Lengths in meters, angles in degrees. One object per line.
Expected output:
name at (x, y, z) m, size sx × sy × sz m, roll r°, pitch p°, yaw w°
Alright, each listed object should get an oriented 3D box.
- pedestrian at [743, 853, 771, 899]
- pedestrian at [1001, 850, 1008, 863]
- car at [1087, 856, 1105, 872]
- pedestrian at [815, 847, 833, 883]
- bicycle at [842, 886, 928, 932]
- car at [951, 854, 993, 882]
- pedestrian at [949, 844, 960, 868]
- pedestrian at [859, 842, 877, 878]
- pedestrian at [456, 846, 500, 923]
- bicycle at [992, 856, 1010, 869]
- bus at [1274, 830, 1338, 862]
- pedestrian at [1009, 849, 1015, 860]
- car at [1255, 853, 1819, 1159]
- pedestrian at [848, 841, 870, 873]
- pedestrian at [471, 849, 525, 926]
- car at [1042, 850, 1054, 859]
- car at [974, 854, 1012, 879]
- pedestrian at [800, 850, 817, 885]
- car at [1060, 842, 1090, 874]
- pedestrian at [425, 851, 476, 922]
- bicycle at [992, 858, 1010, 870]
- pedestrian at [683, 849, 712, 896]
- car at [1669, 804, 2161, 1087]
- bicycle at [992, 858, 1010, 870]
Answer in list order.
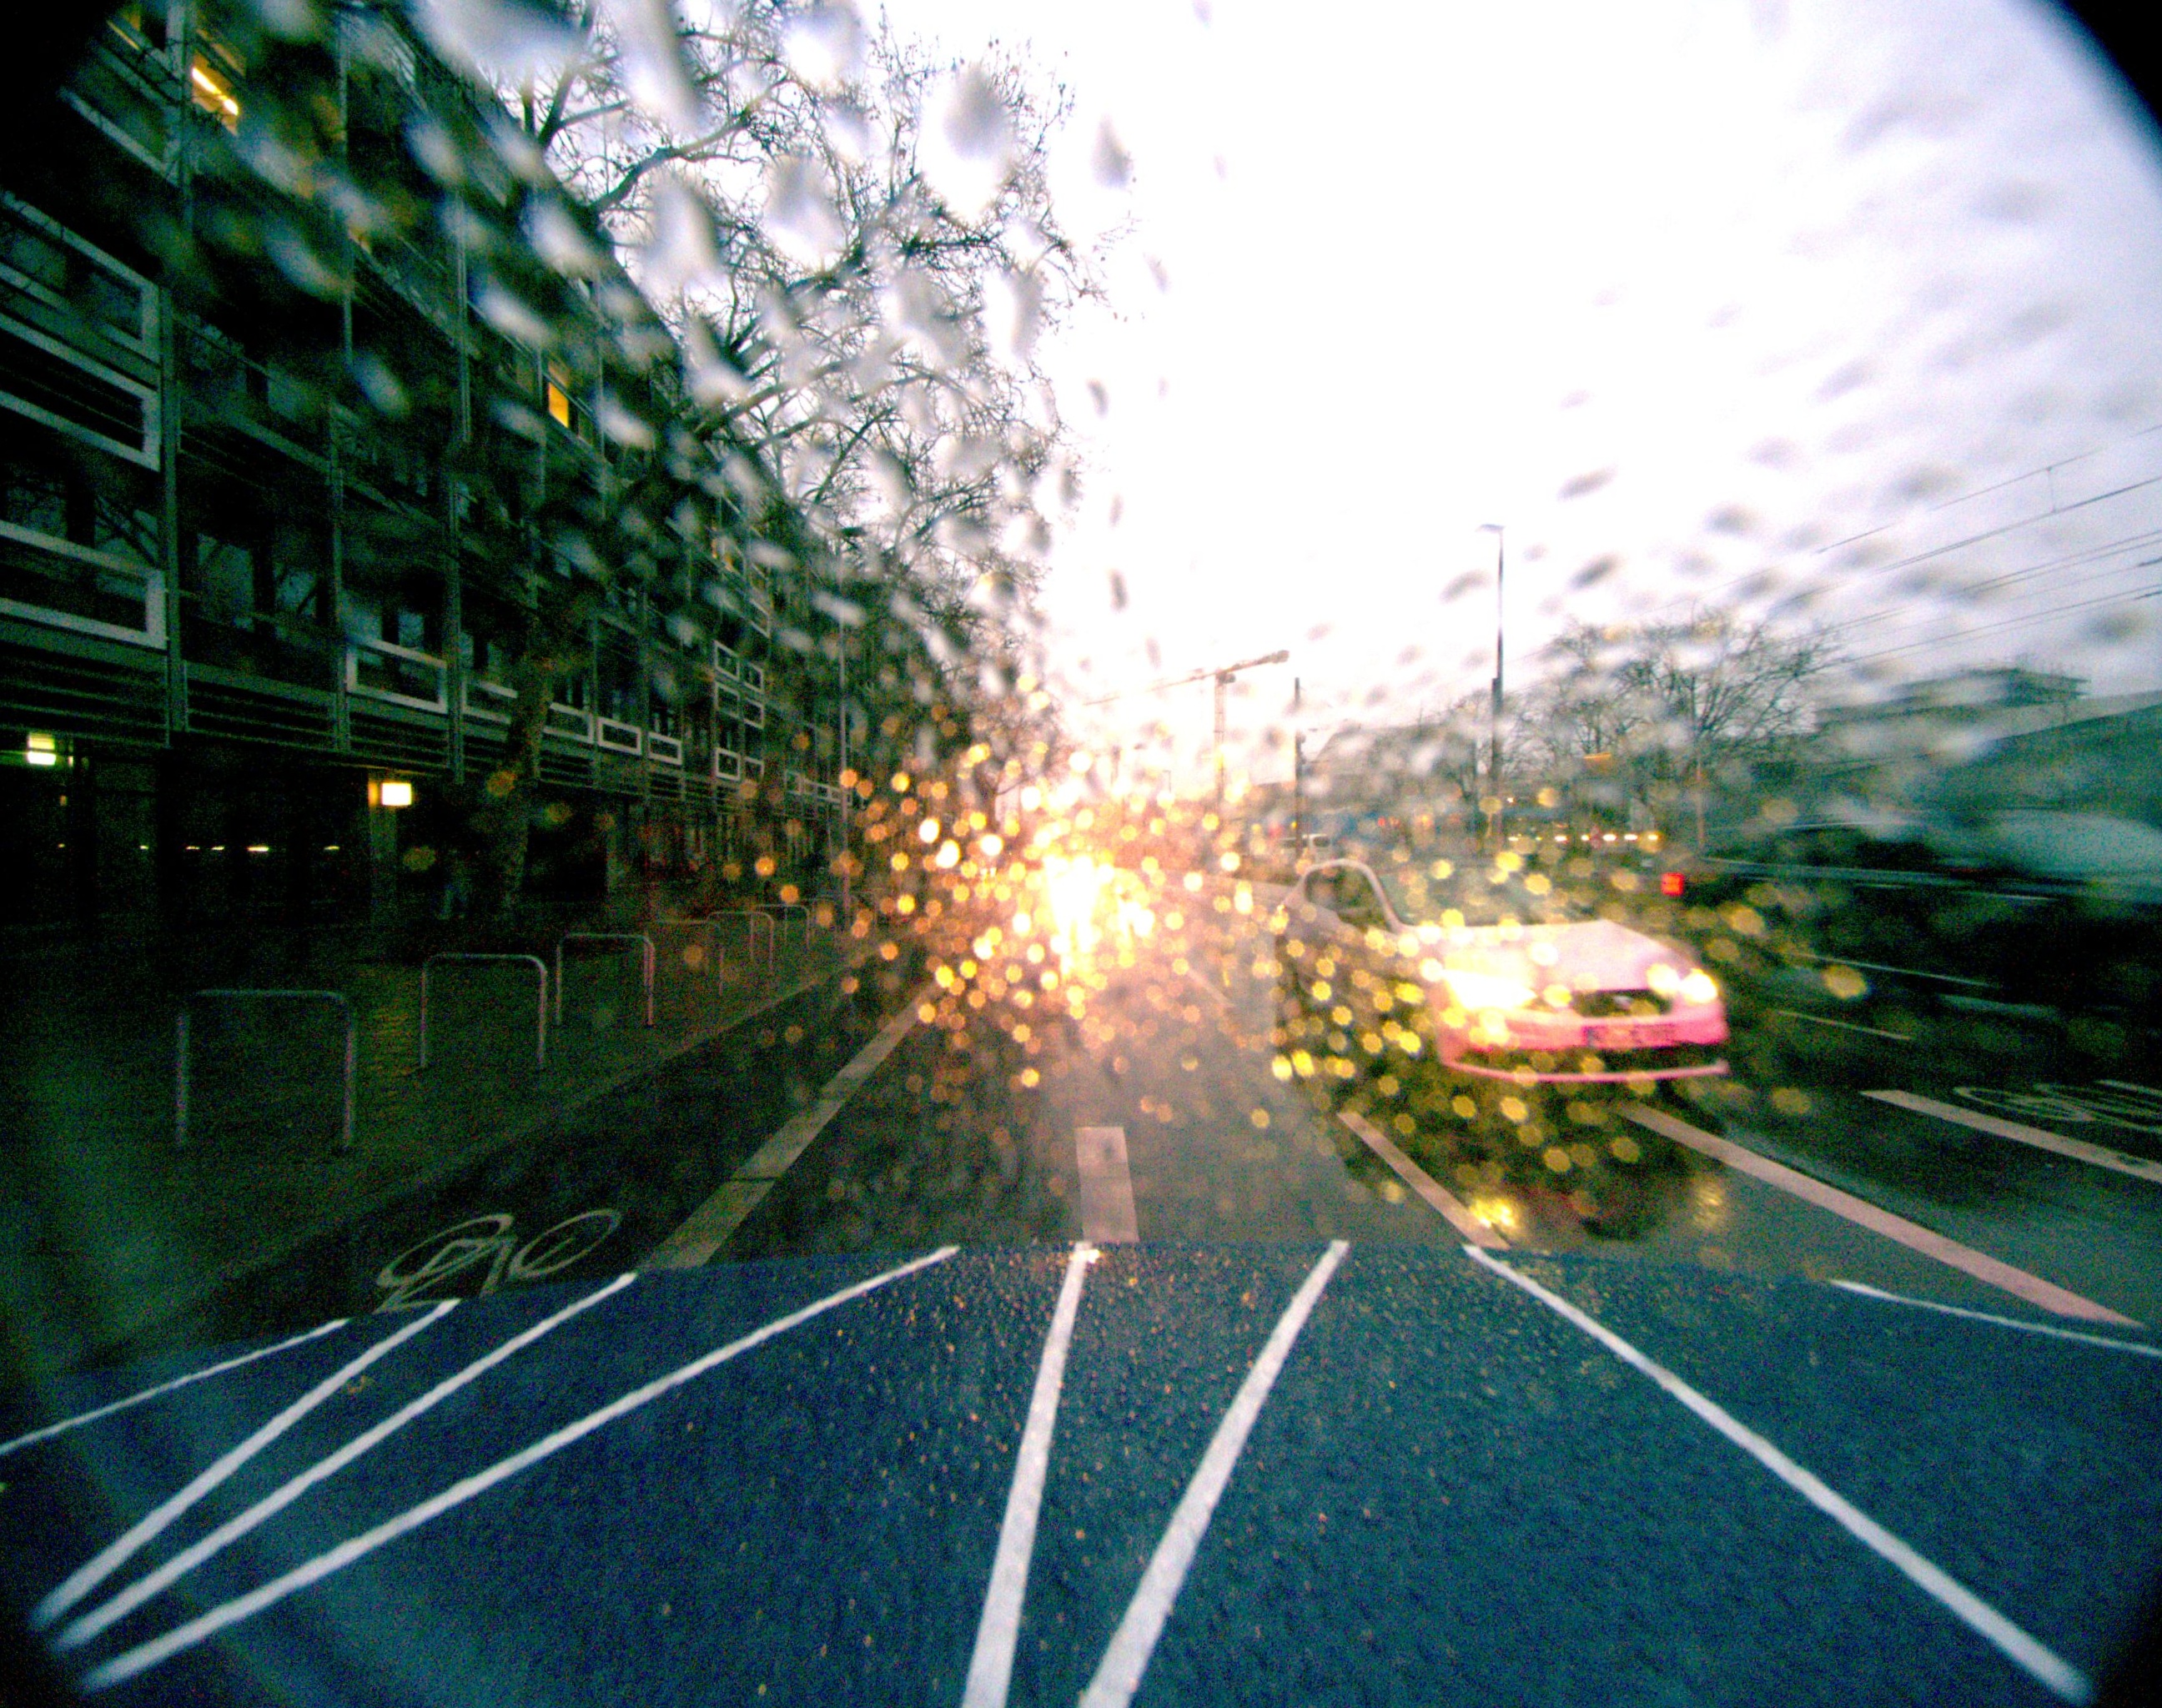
pedestrian at (-10.961, 0.741, 25.701) m, size 0.649 × 1.535 × 0.615 m, roll 0°, pitch 1°, yaw 1°
pedestrian at (-11.756, 0.432, 116.710) m, size 0.838 × 2.002 × 0.771 m, roll -2°, pitch 2°, yaw 0°
car at (1.557, 1.059, 80.857) m, size 1.858 × 1.591 × 4.001 m, roll -1°, pitch -1°, yaw 1°
pedestrian at (-12.314, 0.523, 36.372) m, size 0.661 × 1.708 × 0.841 m, roll -1°, pitch 1°, yaw -30°
bicycle at (-4.441, 1.244, 17.312) m, size 1.792 × 0.968 × 0.617 m, roll 1°, pitch 1°, yaw -4°
car at (-6.143, 0.776, 43.082) m, size 1.608 × 1.424 × 3.930 m, roll 2°, pitch 1°, yaw 2°
pedestrian at (-10.568, 0.135, 63.483) m, size 0.791 × 2.002 × 1.024 m, roll -1°, pitch 1°, yaw 0°
pedestrian at (-11.923, 0.326, 42.586) m, size 0.822 × 2.002 × 0.735 m, roll -1°, pitch 1°, yaw -2°
pedestrian at (-13.409, 0.661, 16.903) m, size 0.379 × 1.658 × 0.713 m, roll 0°, pitch 1°, yaw 1°
bicycle at (-7.012, 0.738, 66.604) m, size 1.523 × 1.030 × 0.469 m, roll -2°, pitch 2°, yaw -7°
bus at (26.293, -0.917, 89.729) m, size 2.815 × 3.557 × 12.298 m, roll -1°, pitch 0°, yaw -6°
pedestrian at (-12.578, 0.089, 138.138) m, size 0.838 × 2.002 × 0.771 m, roll -2°, pitch 2°, yaw 0°
car at (2.799, 0.765, 5.909) m, size 1.778 × 1.466 × 4.128 m, roll -2°, pitch 1°, yaw -2°
pedestrian at (-10.922, 0.145, 37.415) m, size 0.866 × 1.515 × 0.837 m, roll -1°, pitch 1°, yaw -2°
pedestrian at (-12.945, 0.720, 16.892) m, size 0.501 × 1.658 × 0.873 m, roll 0°, pitch 1°, yaw 1°
car at (-7.109, 0.102, 163.238) m, size 2.000 × 2.002 × 3.996 m, roll -2°, pitch 1°, yaw -9°
car at (-5.828, 0.791, 50.810) m, size 1.998 × 1.477 × 3.999 m, roll -2°, pitch 1°, yaw 1°
pedestrian at (-12.914, 0.617, 35.991) m, size 0.642 × 1.645 × 0.841 m, roll -1°, pitch 1°, yaw -28°
car at (-0.326, 0.252, 49.870) m, size 1.858 × 2.002 × 4.000 m, roll -1°, pitch 0°, yaw 1°
pedestrian at (-13.991, 0.704, 16.876) m, size 0.484 × 1.555 × 0.745 m, roll -1°, pitch 1°, yaw -1°
bicycle at (-7.229, 0.906, 68.651) m, size 1.523 × 1.030 × 0.469 m, roll -2°, pitch 2°, yaw -7°
pedestrian at (-13.657, 0.654, 27.055) m, size 0.617 × 1.647 × 0.780 m, roll -1°, pitch 1°, yaw 1°
car at (7.421, 0.538, 6.116) m, size 1.707 × 1.733 × 4.611 m, roll -1°, pitch 1°, yaw -2°
bicycle at (-7.155, 0.895, 67.959) m, size 1.523 × 1.030 × 0.469 m, roll -2°, pitch 2°, yaw -7°
